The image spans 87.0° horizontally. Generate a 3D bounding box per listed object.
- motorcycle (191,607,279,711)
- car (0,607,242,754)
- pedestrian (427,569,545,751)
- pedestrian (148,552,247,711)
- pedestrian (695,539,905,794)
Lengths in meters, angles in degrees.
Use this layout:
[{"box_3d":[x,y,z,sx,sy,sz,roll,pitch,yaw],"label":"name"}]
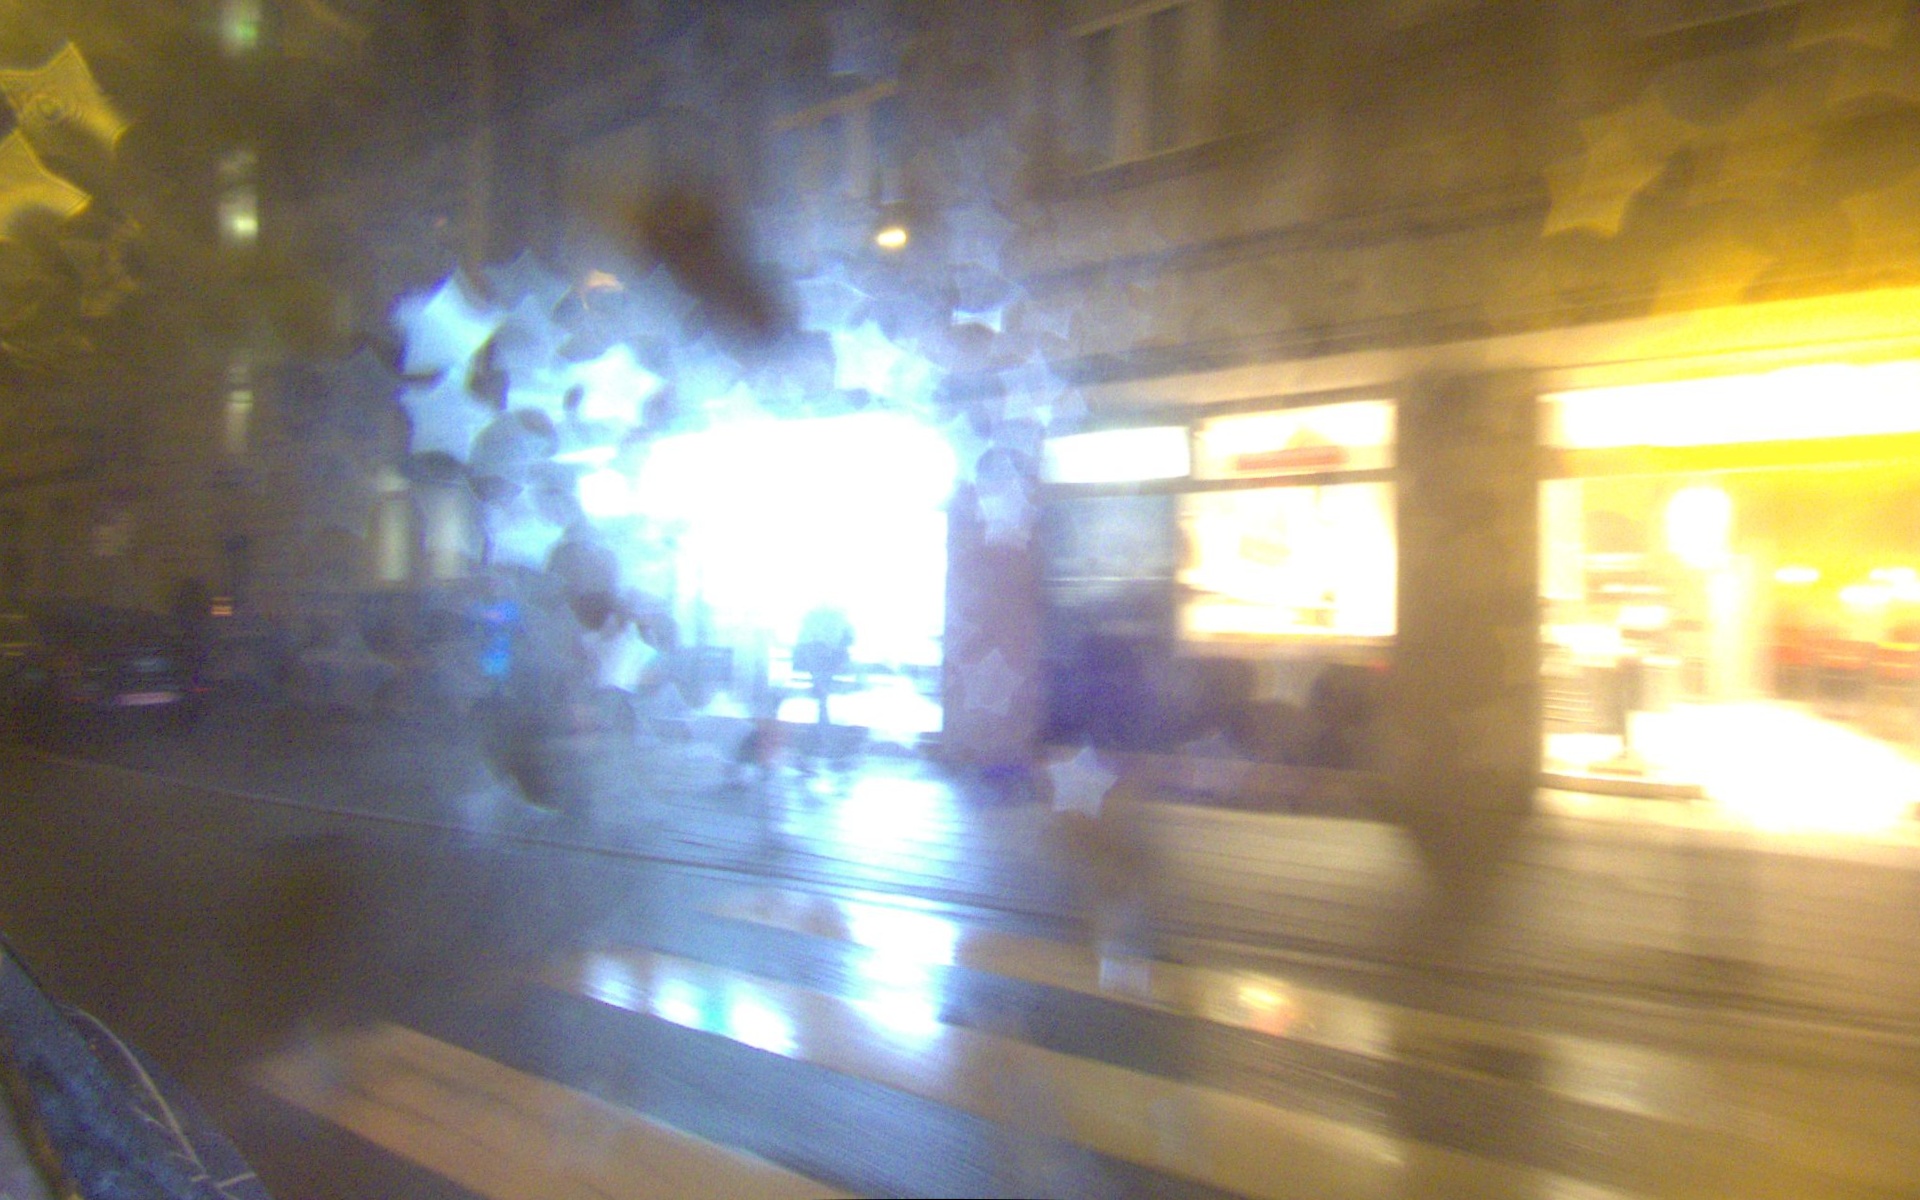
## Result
[{"box_3d":[-10.862,0.855,15.158,1.452,1.482,0.533,0,0,31],"label":"motorcycle"},{"box_3d":[-11.003,0.833,12.392,5.014,1.489,1.833,0,0,32],"label":"car"},{"box_3d":[-5.060,0.604,10.807,1.075,1.846,0.669,0,0,34],"label":"pedestrian"},{"box_3d":[-11.337,0.457,15.061,1.112,2.258,0.793,-1,-1,30],"label":"pedestrian"},{"box_3d":[-1.289,0.500,8.216,1.409,1.877,0.949,-1,-1,30],"label":"pedestrian"}]
